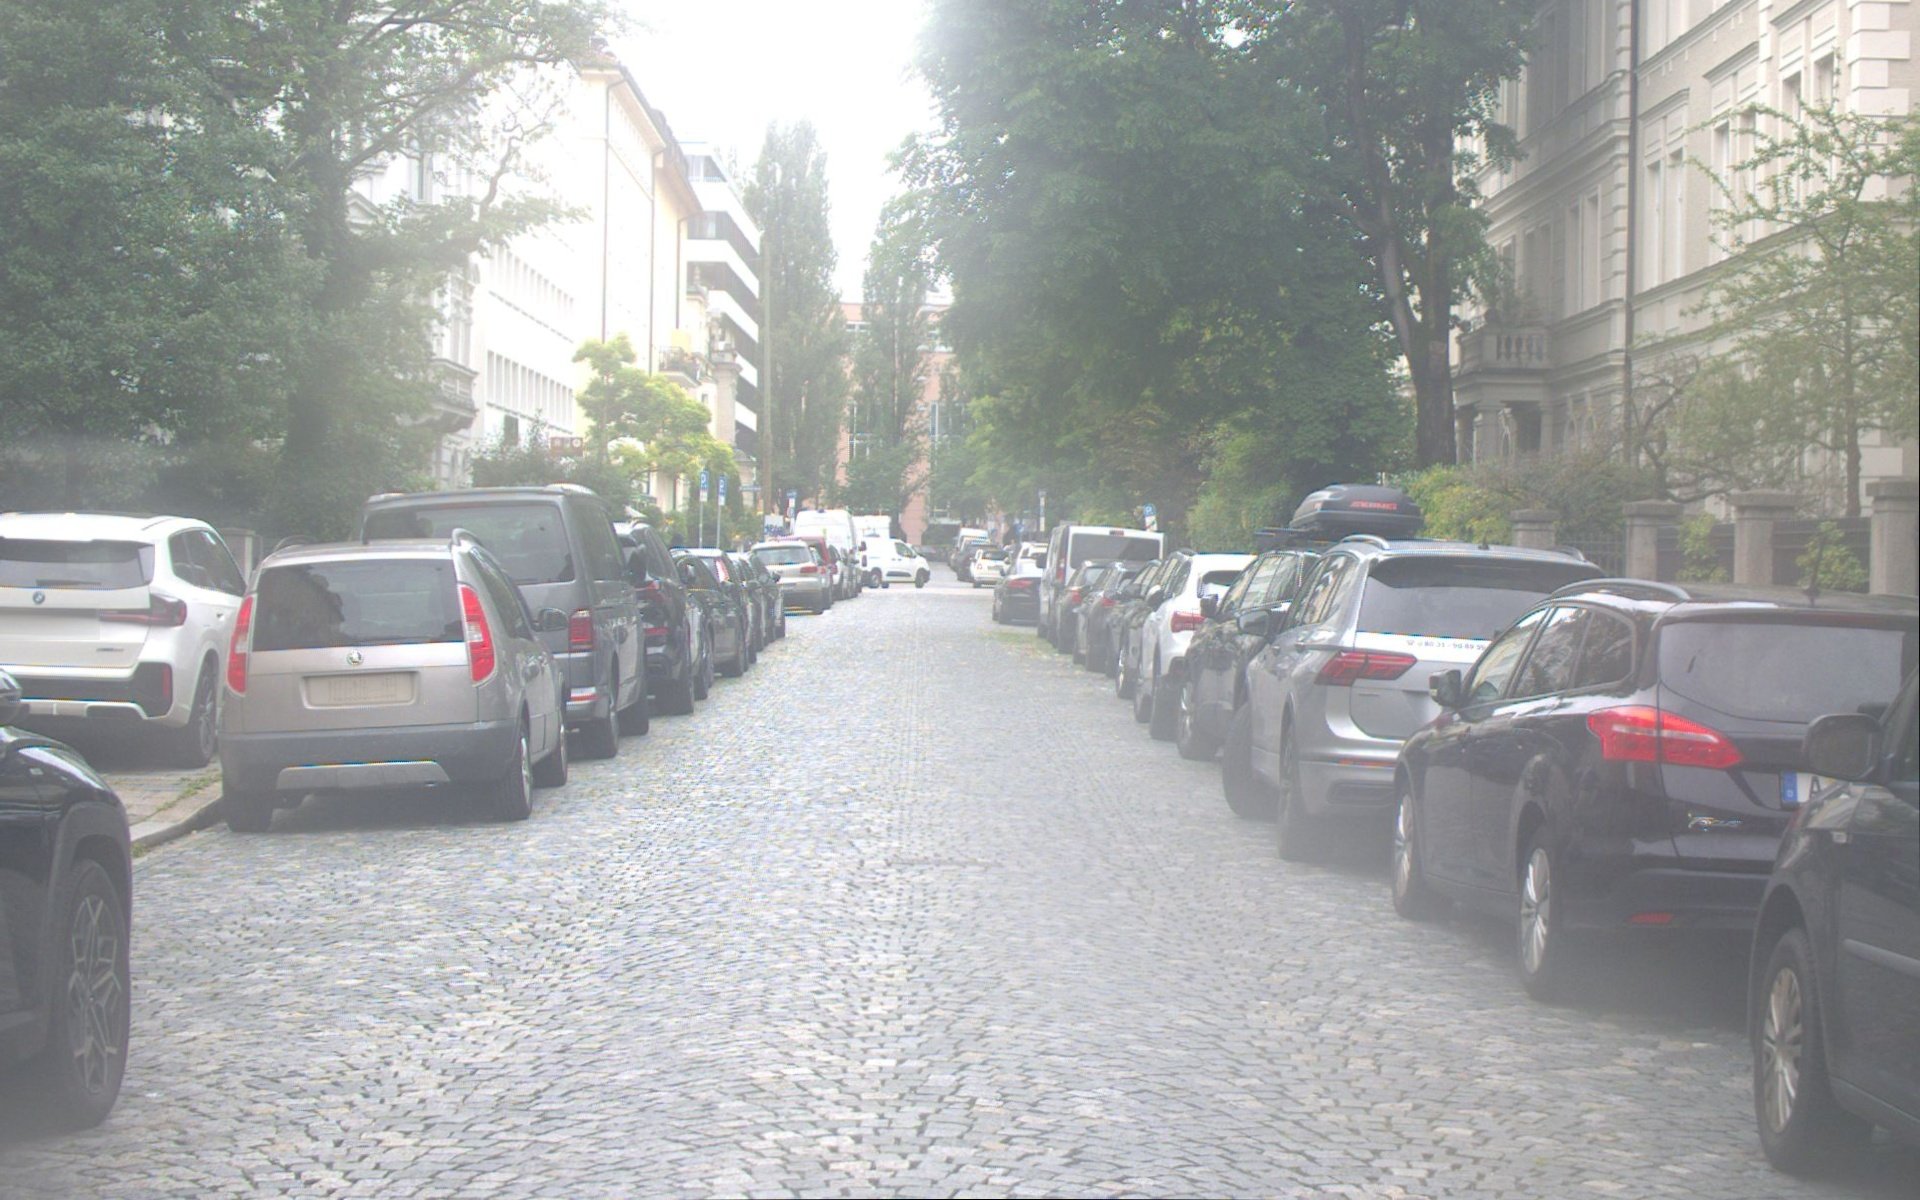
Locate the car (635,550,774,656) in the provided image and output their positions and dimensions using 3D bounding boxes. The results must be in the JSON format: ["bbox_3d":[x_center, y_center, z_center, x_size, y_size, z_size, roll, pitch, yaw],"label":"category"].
[{"bbox_3d":[-3.679,0.008,50.095,1.783,1.412,4.497,-2,1,-2],"label":"car"}]

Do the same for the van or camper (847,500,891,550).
[{"bbox_3d":[-5.127,-4.219,194.253,2.256,2.733,5.098,2,1,0],"label":"van or camper"}]

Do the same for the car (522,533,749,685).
[{"bbox_3d":[-3.489,0.052,37.881,1.978,1.556,5.017,0,1,1],"label":"car"}]

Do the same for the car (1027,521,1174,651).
[{"bbox_3d":[2.273,-0.257,57.009,1.873,1.921,5.165,4,1,-3],"label":"car"}]

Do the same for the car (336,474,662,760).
[{"bbox_3d":[-3.321,0.078,25.641,1.873,1.910,4.828,-1,1,-1],"label":"car"}]

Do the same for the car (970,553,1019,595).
[{"bbox_3d":[1.290,-1.013,130.831,1.790,1.515,4.000,2,1,0],"label":"car"}]

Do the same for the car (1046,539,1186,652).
[{"bbox_3d":[2.290,-0.091,51.490,1.837,1.485,4.421,4,1,0],"label":"car"}]

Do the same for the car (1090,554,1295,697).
[{"bbox_3d":[2.652,0.256,40.032,1.693,1.435,4.062,4,1,-5],"label":"car"}]

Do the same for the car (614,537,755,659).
[{"bbox_3d":[-3.399,-0.048,42.910,1.662,1.439,4.172,0,1,-4],"label":"car"}]

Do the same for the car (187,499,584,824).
[{"bbox_3d":[-3.353,0.295,20.845,1.865,1.729,4.404,-1,1,-3],"label":"car"}]

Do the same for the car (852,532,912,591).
[{"bbox_3d":[-2.788,-1.394,123.576,1.993,2.007,4.000,2,1,0],"label":"car"}]

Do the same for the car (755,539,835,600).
[{"bbox_3d":[-3.985,-0.751,82.985,1.873,1.446,4.208,0,1,-3],"label":"car"}]

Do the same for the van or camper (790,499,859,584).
[{"bbox_3d":[-4.298,-1.861,109.704,1.993,2.643,4.000,-1,1,0],"label":"van or camper"}]

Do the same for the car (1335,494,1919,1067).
[{"bbox_3d":[2.775,0.575,13.364,1.873,1.729,4.659,5,1,-1],"label":"car"}]

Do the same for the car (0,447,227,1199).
[{"bbox_3d":[-3.157,0.554,7.741,1.917,1.729,4.755,-3,1,0],"label":"car"}]

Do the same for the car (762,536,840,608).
[{"bbox_3d":[-4.102,-0.744,89.258,1.873,1.770,4.123,-2,1,-2],"label":"car"}]

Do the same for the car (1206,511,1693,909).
[{"bbox_3d":[2.443,0.482,18.382,1.873,1.729,4.891,4,1,1],"label":"car"}]

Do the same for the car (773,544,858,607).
[{"bbox_3d":[-3.948,-0.670,94.773,1.873,1.574,4.207,4,1,3],"label":"car"}]

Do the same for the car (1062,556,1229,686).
[{"bbox_3d":[2.343,0.228,44.426,1.713,1.467,4.269,4,1,-2],"label":"car"}]

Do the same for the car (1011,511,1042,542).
[{"bbox_3d":[4.506,-5.005,233.733,1.993,2.007,4.000,2,0,0],"label":"car"}]

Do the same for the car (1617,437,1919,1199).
[{"bbox_3d":[2.899,0.621,7.464,1.788,1.790,4.510,5,1,-2],"label":"car"}]

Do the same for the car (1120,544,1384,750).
[{"bbox_3d":[2.411,0.336,29.441,1.873,1.485,4.617,4,1,1],"label":"car"}]

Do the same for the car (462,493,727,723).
[{"bbox_3d":[-3.323,0.031,32.195,1.993,1.910,5.178,-2,1,-1],"label":"car"}]

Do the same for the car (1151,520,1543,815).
[{"bbox_3d":[2.604,0.393,24.309,1.873,1.729,4.748,5,1,-3],"label":"car"}]

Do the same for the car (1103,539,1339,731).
[{"bbox_3d":[2.535,0.300,34.420,1.873,1.664,4.657,4,1,0],"label":"car"}]

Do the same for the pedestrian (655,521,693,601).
[{"bbox_3d":[-6.975,-0.945,83.892,0.792,1.911,0.759,3,1,-1],"label":"pedestrian"}]

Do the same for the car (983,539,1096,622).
[{"bbox_3d":[1.560,-0.416,69.143,1.873,1.498,4.512,4,1,-3],"label":"car"}]

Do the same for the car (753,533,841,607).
[{"bbox_3d":[-3.624,-0.683,76.754,1.873,1.574,4.256,-1,1,-3],"label":"car"}]

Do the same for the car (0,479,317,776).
[{"bbox_3d":[-5.777,0.105,23.314,1.945,1.729,4.658,4,1,-1],"label":"car"}]
